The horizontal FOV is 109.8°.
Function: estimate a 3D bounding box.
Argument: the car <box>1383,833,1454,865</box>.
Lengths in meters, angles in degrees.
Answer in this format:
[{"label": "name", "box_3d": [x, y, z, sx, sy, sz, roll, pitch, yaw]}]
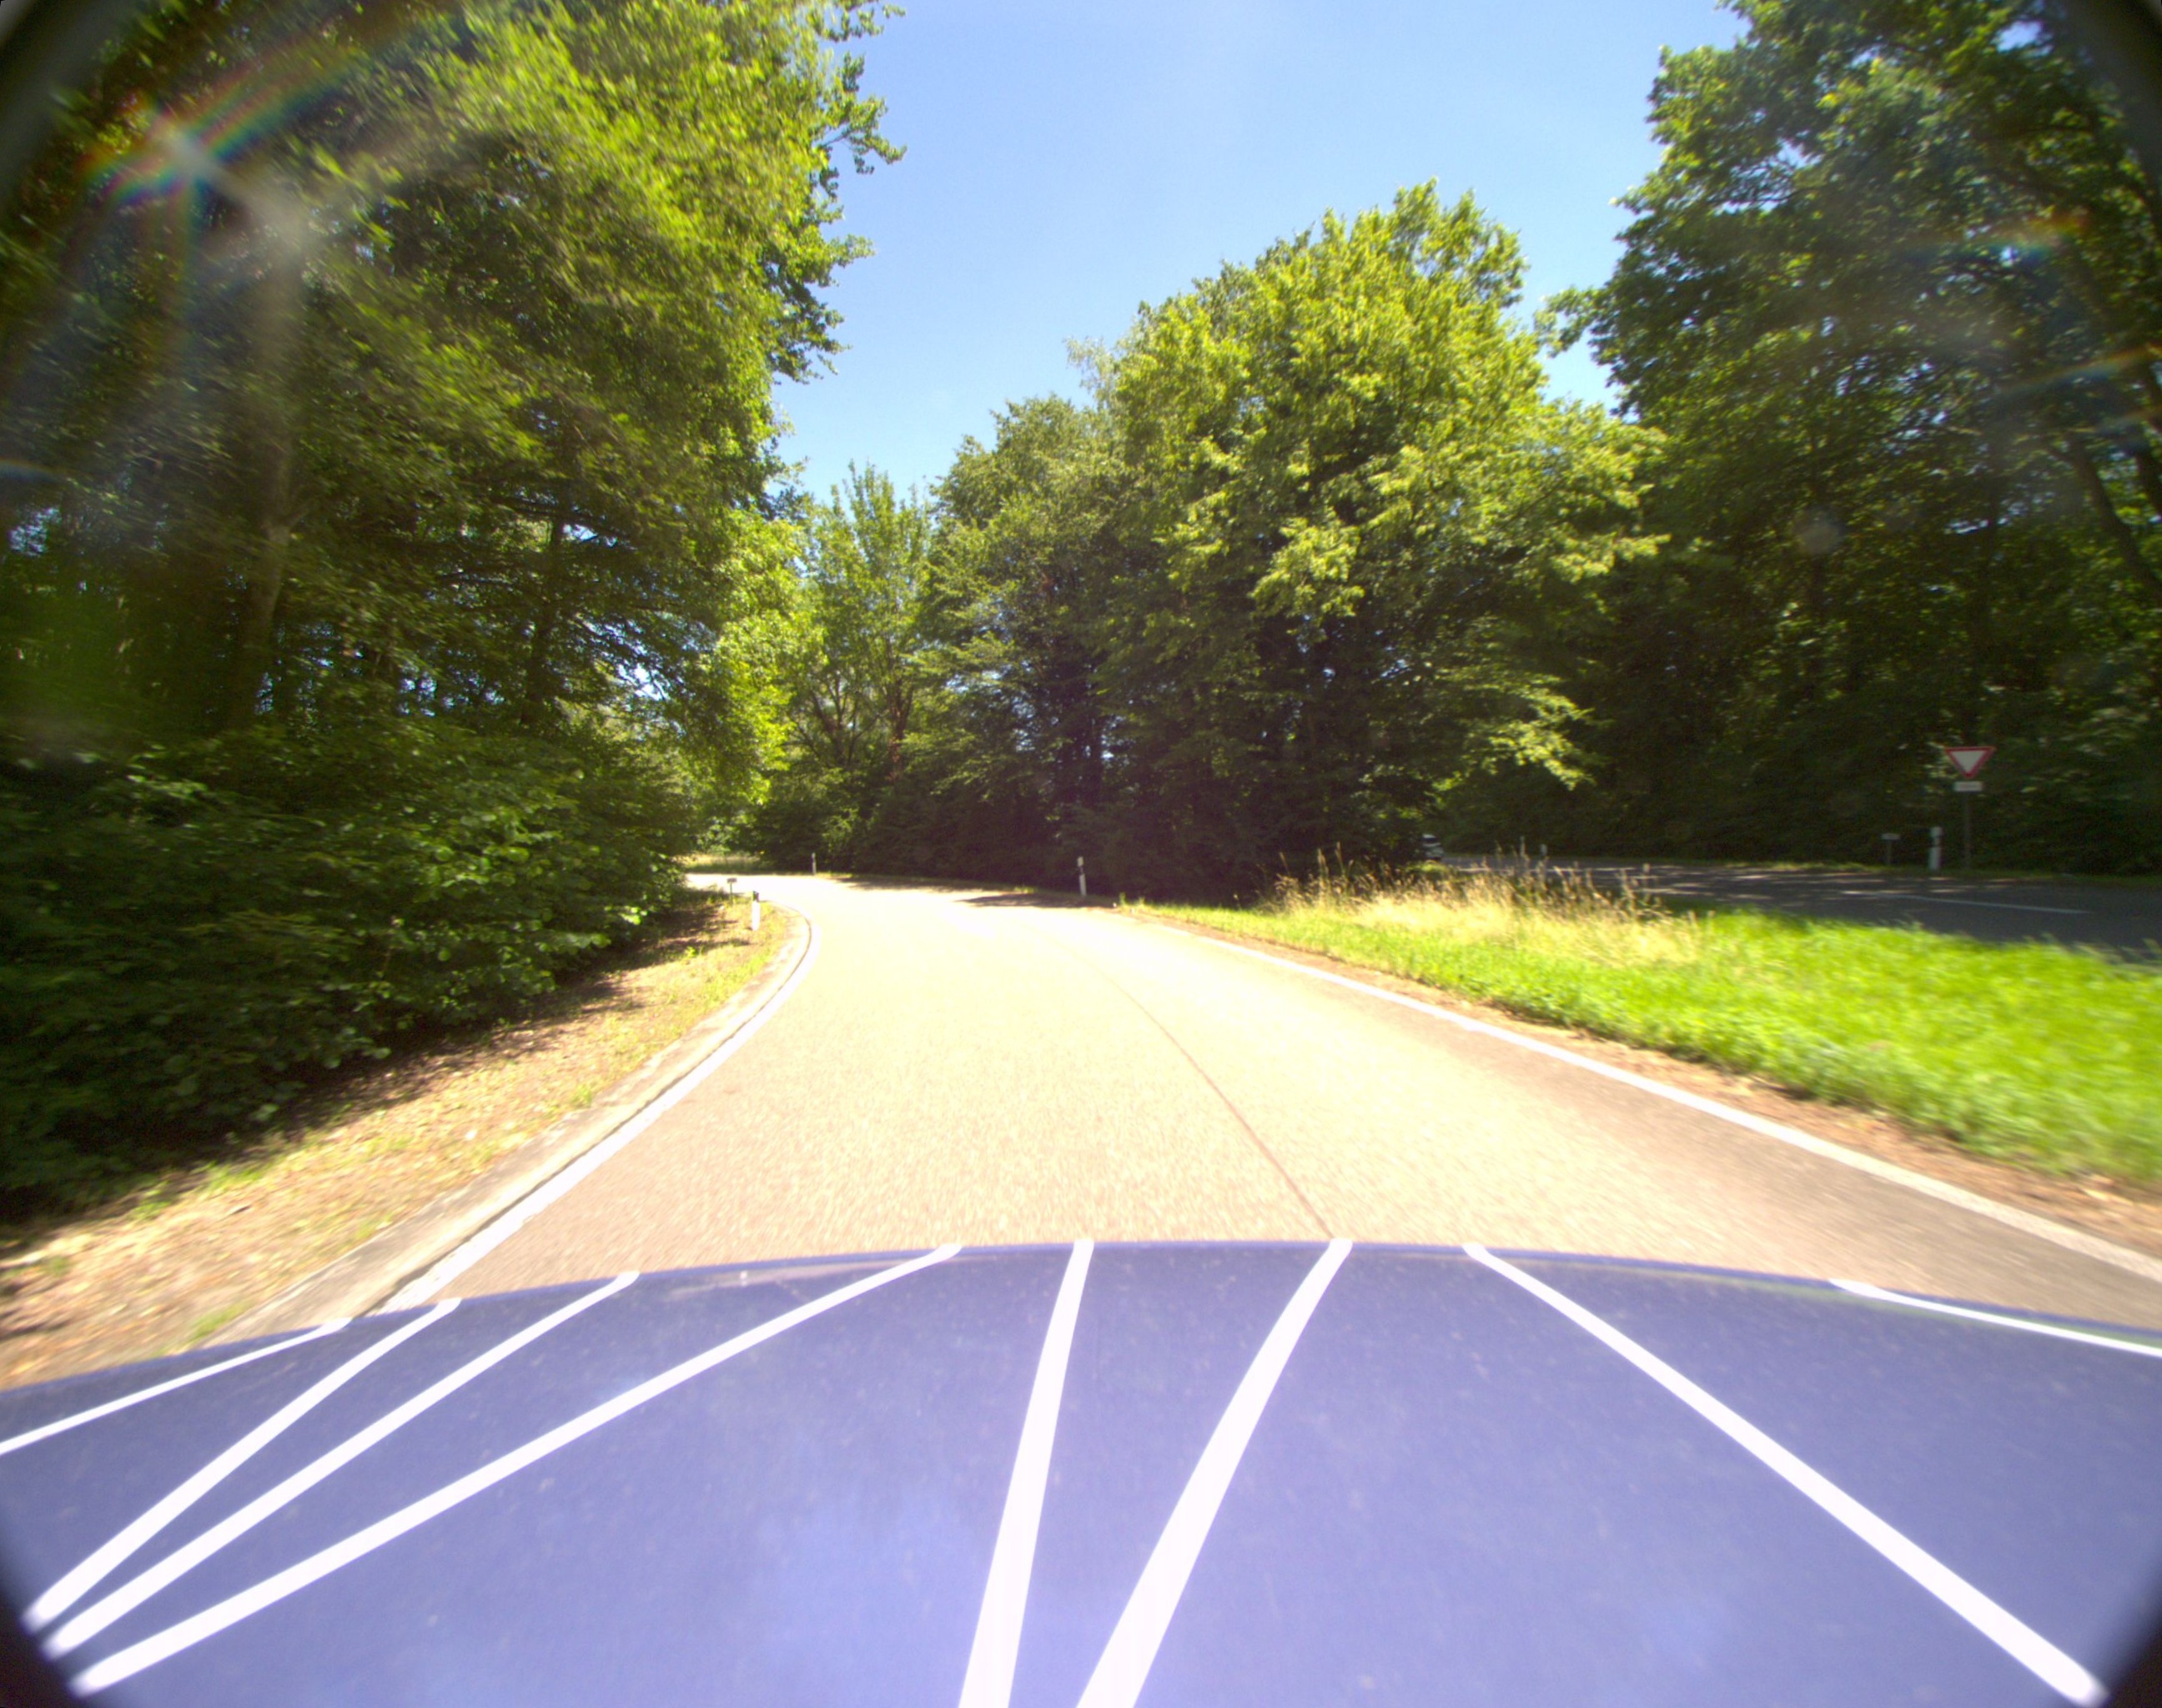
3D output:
[{"label": "car", "box_3d": [17.303, -0.262, 39.231, 1.759, 1.443, 4.872, -4, 0, 5]}]
